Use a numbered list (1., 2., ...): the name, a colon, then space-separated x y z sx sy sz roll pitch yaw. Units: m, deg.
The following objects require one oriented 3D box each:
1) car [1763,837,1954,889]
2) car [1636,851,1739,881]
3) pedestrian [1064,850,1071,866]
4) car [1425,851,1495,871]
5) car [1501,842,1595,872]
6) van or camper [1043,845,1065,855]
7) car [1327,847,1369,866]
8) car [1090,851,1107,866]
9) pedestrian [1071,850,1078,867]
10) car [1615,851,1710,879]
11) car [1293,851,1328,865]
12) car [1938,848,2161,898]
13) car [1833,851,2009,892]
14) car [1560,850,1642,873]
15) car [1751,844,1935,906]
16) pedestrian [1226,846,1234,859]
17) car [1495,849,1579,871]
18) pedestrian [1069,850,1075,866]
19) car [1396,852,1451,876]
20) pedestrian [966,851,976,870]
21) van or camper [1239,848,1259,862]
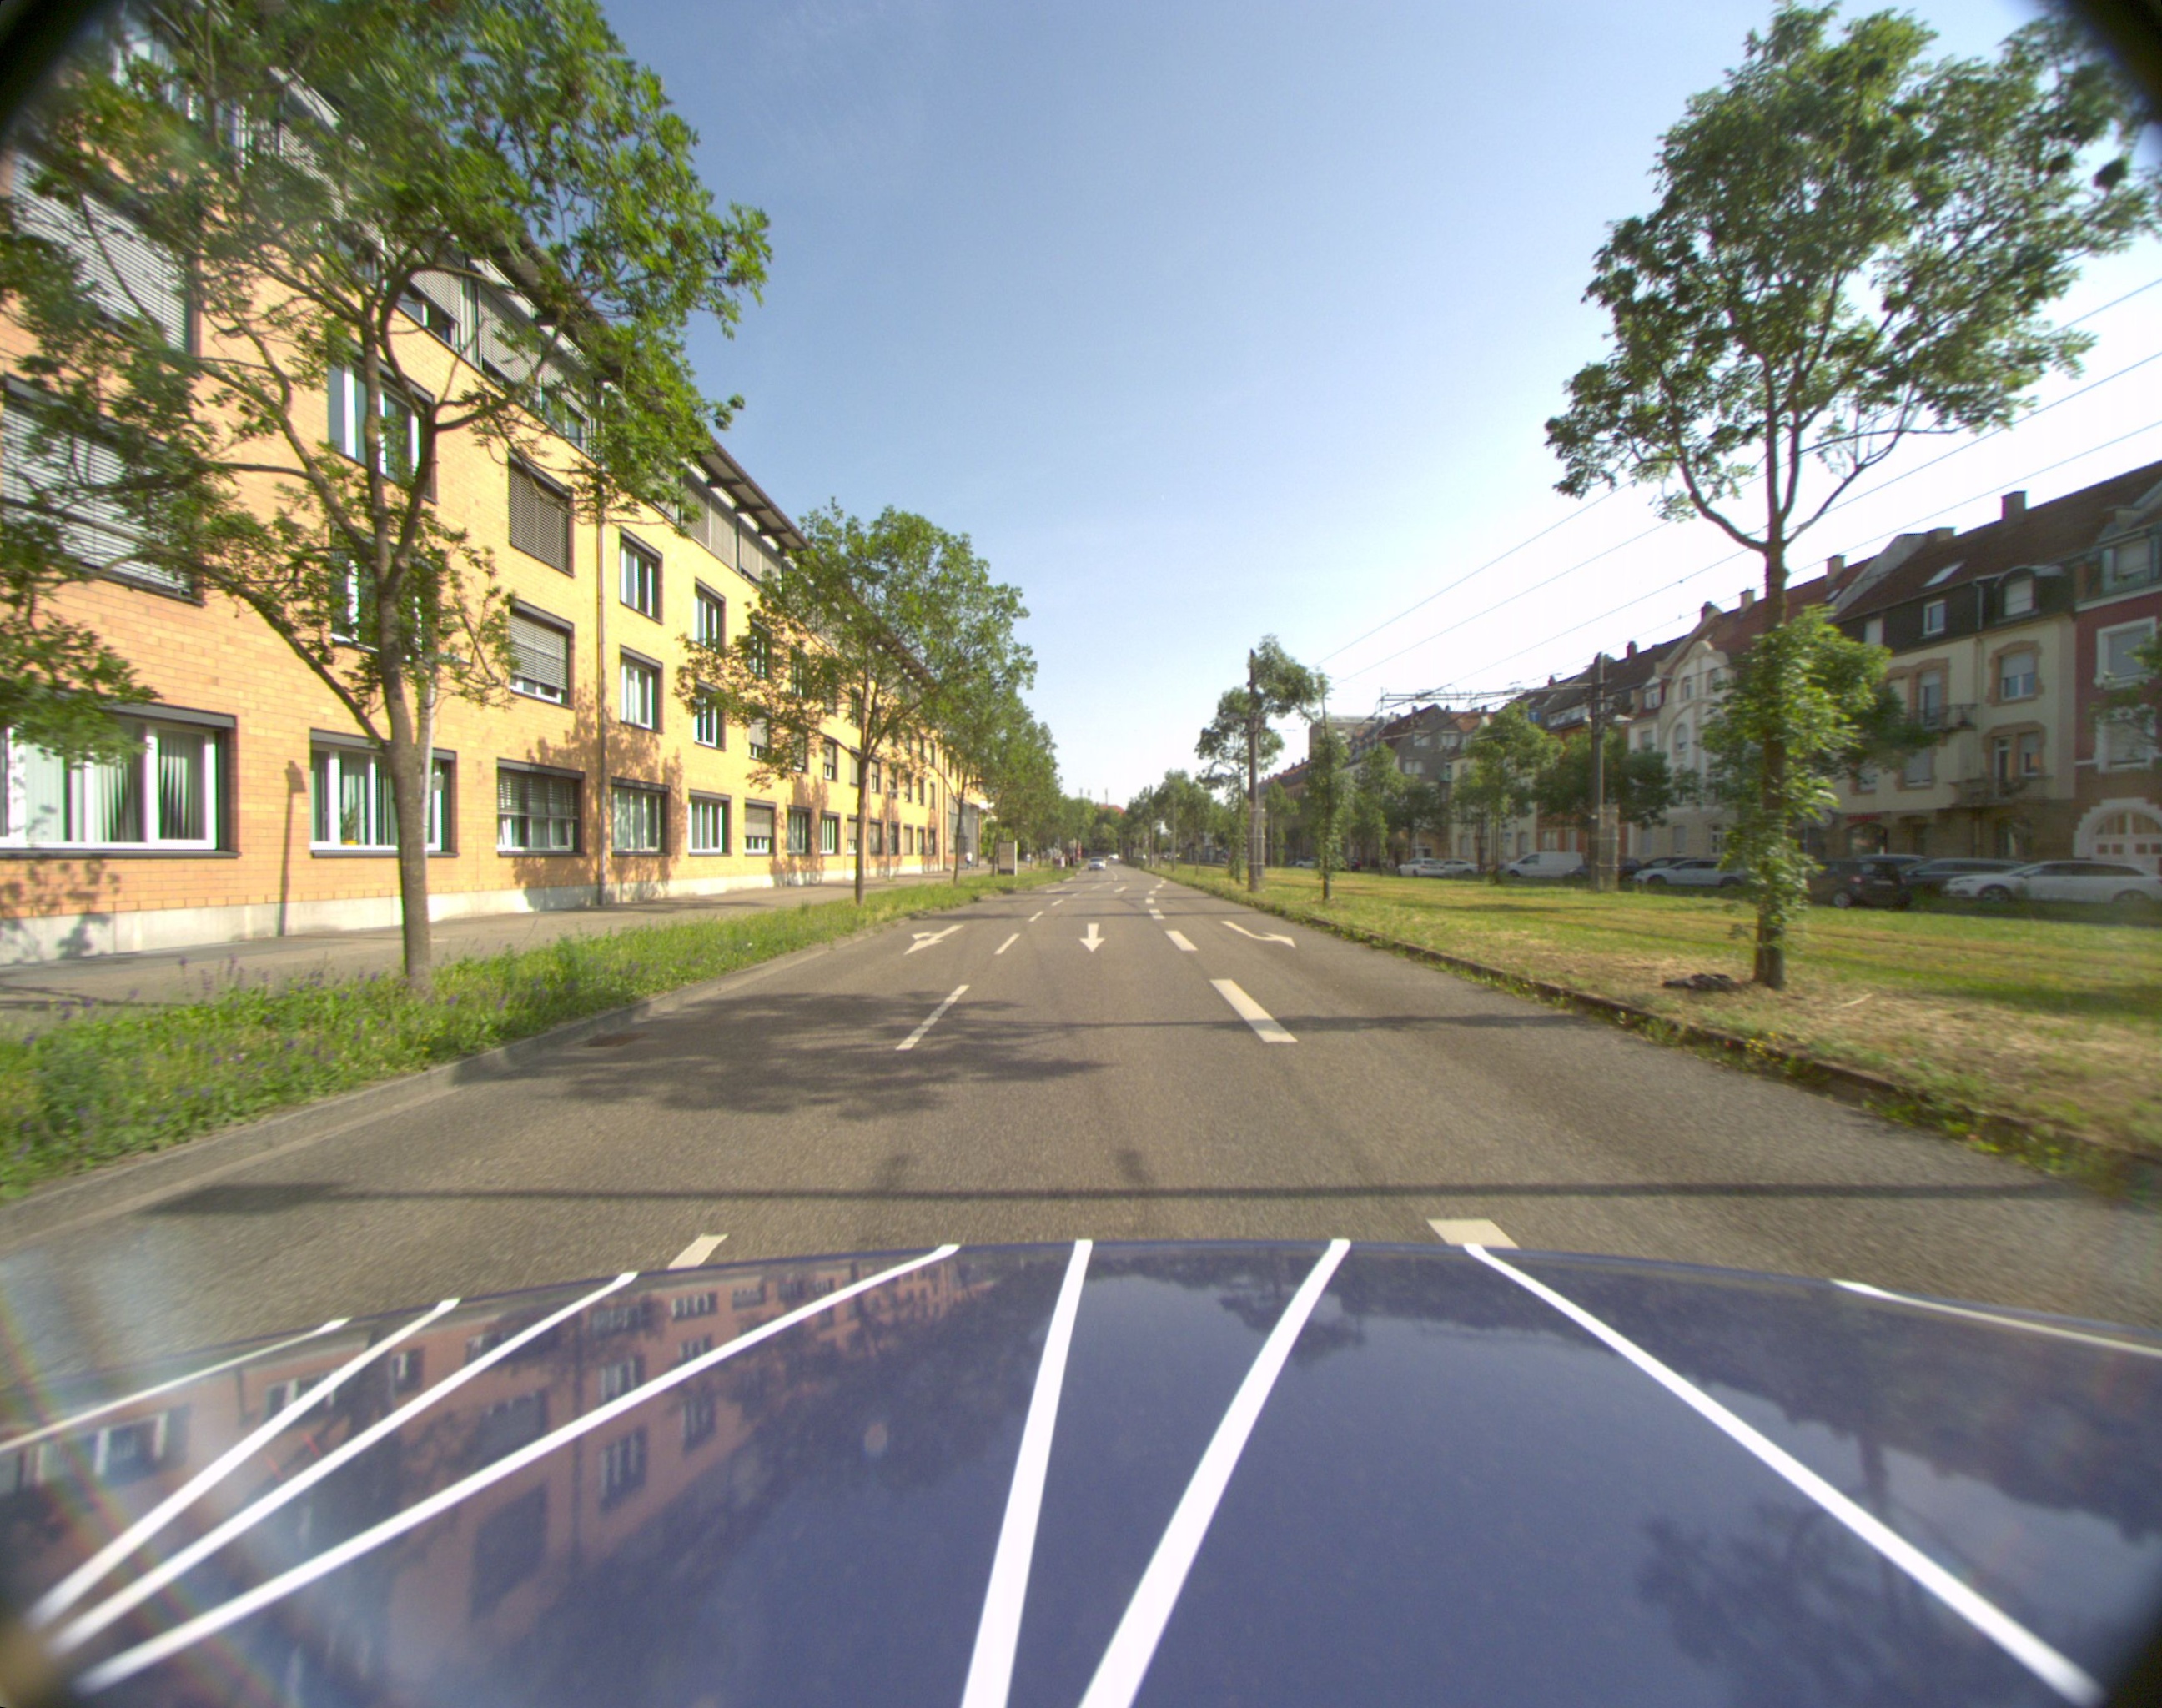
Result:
1. car: 28.913 0.341 28.462 4.637 1.733 1.836 -2 1 26
2. car: 28.295 0.570 35.587 3.676 1.234 1.665 -2 1 36
3. pedestrian: -1.389 0.437 81.225 0.707 1.637 0.689 1 1 -1
4. car: 30.403 0.568 61.012 4.765 1.477 2.026 -2 1 33
5. car: 29.668 0.218 48.312 4.938 1.716 1.860 -2 1 36
6. van or camper: -7.463 -1.061 208.128 5.800 2.678 2.407 -2 1 -2
7. car: 24.670 0.173 70.520 1.998 1.621 5.379 -2 1 1
8. car: 1.775 0.423 79.559 1.629 1.476 3.366 -2 1 0
9. pedestrian: -0.668 0.453 78.329 0.707 1.637 0.689 1 1 -1
10. car: 29.081 0.563 38.123 3.676 1.234 1.665 -2 2 35
11. car: 30.024 0.507 99.458 3.989 1.716 2.004 -2 1 36
12. car: 28.311 0.555 22.246 4.003 1.309 1.665 -2 1 36
13. car: 28.026 0.589 25.532 3.676 1.234 1.665 -2 1 36
14. car: 28.826 0.440 42.152 3.676 1.234 1.529 -2 -1 35
15. car: 23.158 0.570 23.338 1.768 1.646 4.000 -2 1 3
16. pedestrian: 18.619 -0.150 94.966 0.886 1.645 0.852 0 1 -1
17. car: 30.363 0.421 50.651 4.687 1.340 1.860 -2 1 36
18. pedestrian: -0.944 0.442 79.733 0.636 1.637 0.608 1 1 -3
19. car: 24.058 0.668 53.576 1.952 1.451 4.649 -2 1 3
20. pedestrian: -9.649 0.559 66.815 0.697 1.647 0.773 1 1 1
21. van or camper: 26.101 0.099 118.292 1.956 2.085 5.352 -2 1 1
